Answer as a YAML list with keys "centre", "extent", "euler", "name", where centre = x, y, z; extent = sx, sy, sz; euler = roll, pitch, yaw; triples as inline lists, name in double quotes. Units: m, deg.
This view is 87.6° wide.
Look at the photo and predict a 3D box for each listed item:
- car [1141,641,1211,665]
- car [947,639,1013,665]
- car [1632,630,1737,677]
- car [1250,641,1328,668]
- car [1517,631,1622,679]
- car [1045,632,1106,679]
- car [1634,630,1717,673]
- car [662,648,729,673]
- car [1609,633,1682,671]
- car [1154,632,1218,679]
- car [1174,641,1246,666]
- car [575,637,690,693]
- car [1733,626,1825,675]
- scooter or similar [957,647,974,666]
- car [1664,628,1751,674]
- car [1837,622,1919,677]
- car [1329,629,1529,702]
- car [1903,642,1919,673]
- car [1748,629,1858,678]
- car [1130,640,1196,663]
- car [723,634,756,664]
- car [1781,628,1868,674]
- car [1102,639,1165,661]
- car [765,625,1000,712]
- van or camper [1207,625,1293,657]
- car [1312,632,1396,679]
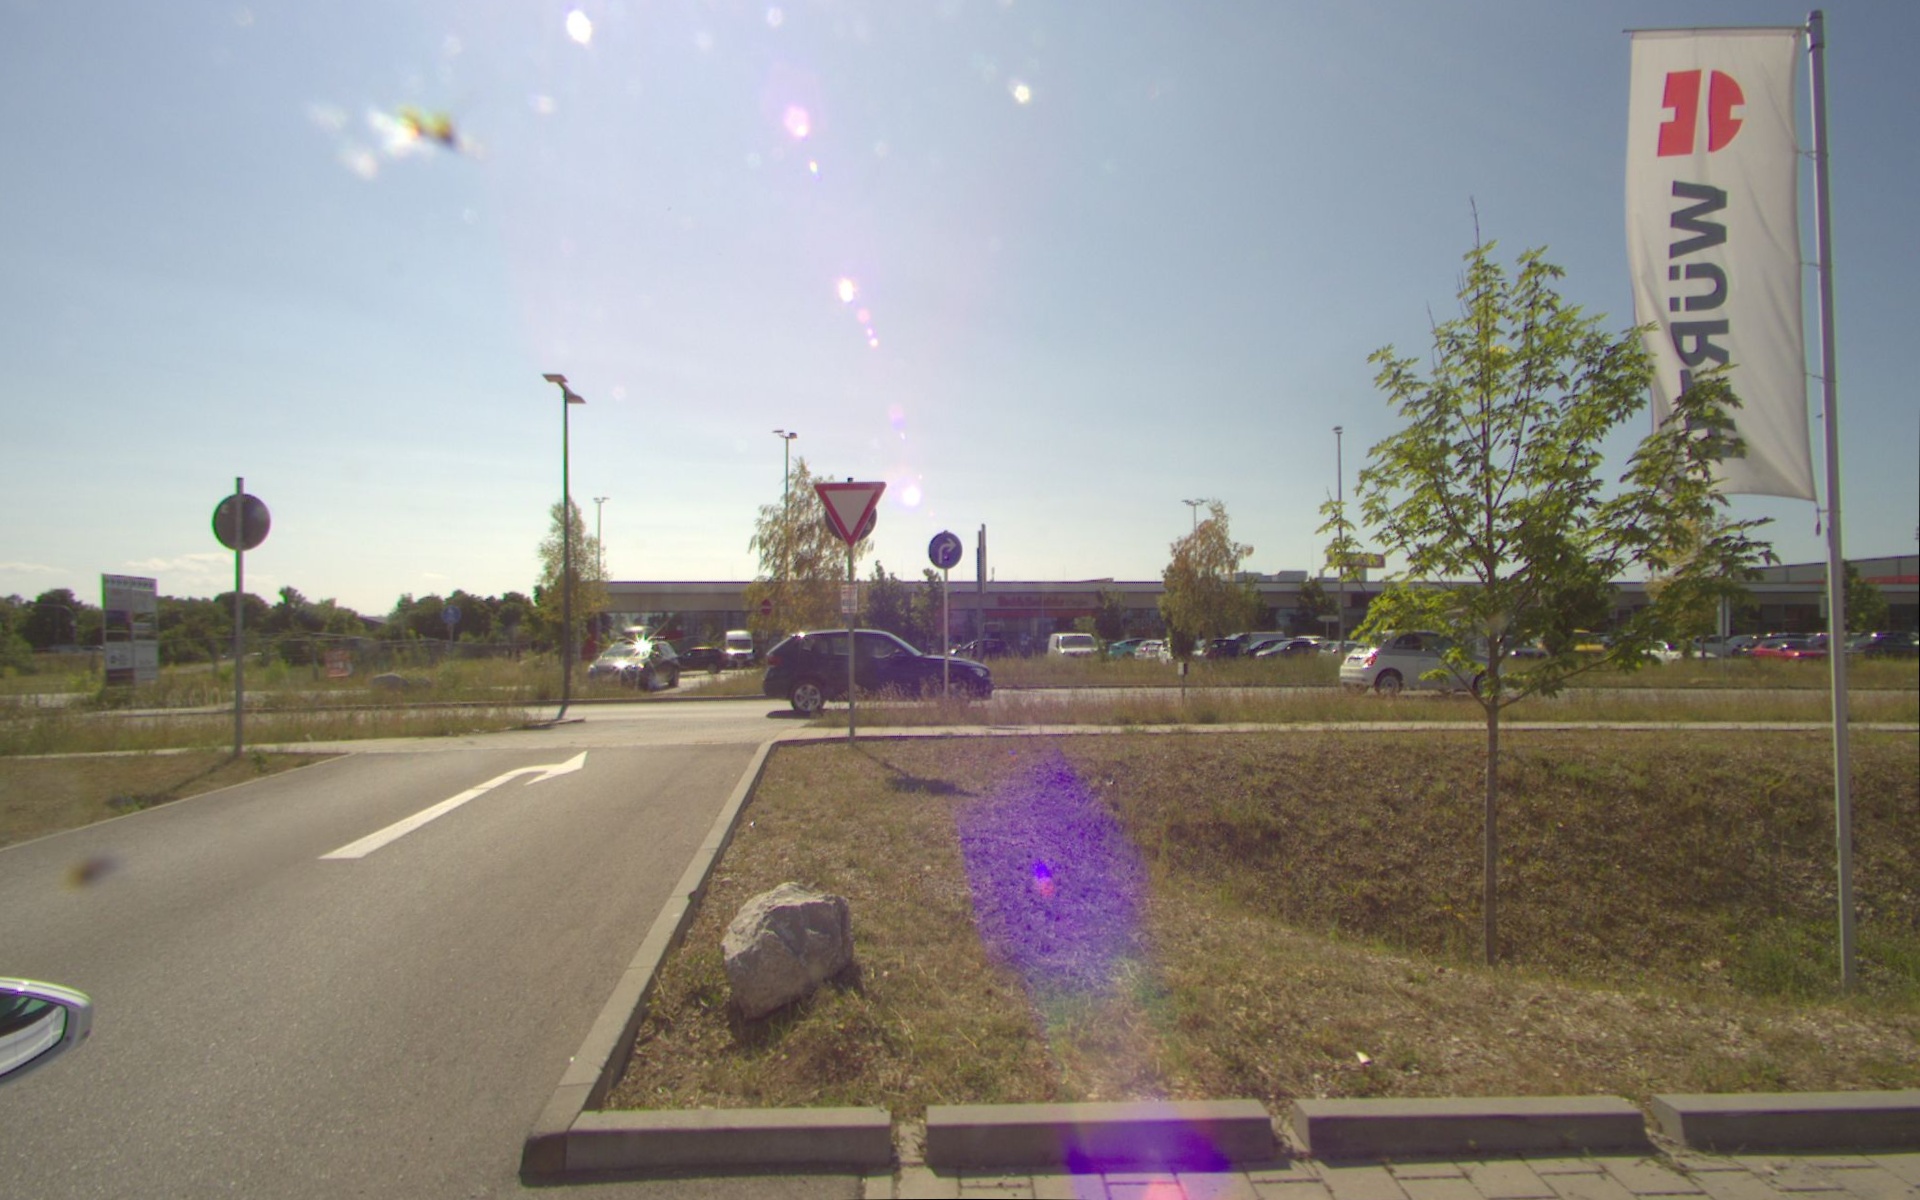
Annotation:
- centre: [12.924, 3.164, 59.953]
  extent: [3.663, 1.408, 1.731]
  euler: [0, -2, -13]
  name: "car"
- centre: [1.204, 3.158, 60.856]
  extent: [3.734, 1.527, 1.732]
  euler: [0, -2, -9]
  name: "car"
- centre: [32.615, 2.400, 45.263]
  extent: [1.906, 2.039, 4.412]
  euler: [0, -2, 7]
  name: "car"
- centre: [19.377, 3.229, 59.056]
  extent: [3.924, 1.526, 1.875]
  euler: [0, -3, -8]
  name: "car"
- centre: [27.659, 2.492, 45.691]
  extent: [2.123, 2.039, 5.118]
  euler: [-1, -3, 7]
  name: "car"
- centre: [5.255, 2.525, 46.296]
  extent: [2.047, 2.039, 5.232]
  euler: [0, -3, -2]
  name: "car"
- centre: [48.273, 3.481, 67.580]
  extent: [4.400, 2.856, 2.000]
  euler: [1, -3, -10]
  name: "car"
- centre: [-15.798, 3.614, 59.998]
  extent: [3.775, 1.440, 1.771]
  euler: [1, -3, -14]
  name: "car"
- centre: [52.595, 4.023, 76.881]
  extent: [4.400, 2.856, 2.000]
  euler: [1, -3, -10]
  name: "car"
- centre: [10.391, 2.535, 46.415]
  extent: [2.122, 2.039, 5.119]
  euler: [0, -3, 4]
  name: "car"
- centre: [14.338, 3.062, 57.520]
  extent: [3.663, 1.408, 1.731]
  euler: [0, -2, -13]
  name: "car"
- centre: [-9.697, 1.935, 30.004]
  extent: [1.961, 1.535, 4.200]
  euler: [0, -3, 1]
  name: "car"
- centre: [48.552, 3.004, 59.399]
  extent: [4.404, 2.856, 1.998]
  euler: [1, -3, -16]
  name: "car"
- centre: [0.307, 3.312, 59.012]
  extent: [0.928, 1.093, 0.652]
  euler: [0, -2, -5]
  name: "scooter or similar"
- centre: [48.198, 3.307, 64.592]
  extent: [4.400, 2.856, 2.000]
  euler: [1, -3, -10]
  name: "car"
- centre: [50.119, 2.696, 54.118]
  extent: [4.404, 2.856, 1.998]
  euler: [1, -3, -16]
  name: "car"
- centre: [10.557, 1.474, 22.676]
  extent: [3.711, 1.570, 1.742]
  euler: [0, -3, -7]
  name: "car"
- centre: [67.254, 3.920, 68.312]
  extent: [4.400, 2.063, 2.000]
  euler: [1, -3, -10]
  name: "car"
- centre: [37.374, 2.363, 44.543]
  extent: [1.847, 2.039, 4.140]
  euler: [0, -2, 9]
  name: "car"
- centre: [12.771, 3.242, 62.997]
  extent: [3.663, 1.408, 1.731]
  euler: [0, -2, -13]
  name: "car"
- centre: [-15.893, 3.519, 71.900]
  extent: [2.189, 2.001, 6.692]
  euler: [0, -3, -13]
  name: "car"
- centre: [54.377, 3.213, 62.991]
  extent: [4.404, 2.856, 1.998]
  euler: [1, -3, -16]
  name: "car"
- centre: [11.383, 3.294, 65.710]
  extent: [3.663, 1.408, 1.731]
  euler: [0, -2, -13]
  name: "car"
- centre: [-1.508, 1.310, 19.307]
  extent: [4.304, 1.570, 1.915]
  euler: [0, -3, -8]
  name: "car"
- centre: [18.640, 2.643, 64.458]
  extent: [4.955, 2.039, 2.000]
  euler: [0, -2, -8]
  name: "van or camper"
- centre: [18.079, 2.523, 46.218]
  extent: [2.122, 2.039, 5.119]
  euler: [0, -3, 4]
  name: "car"
